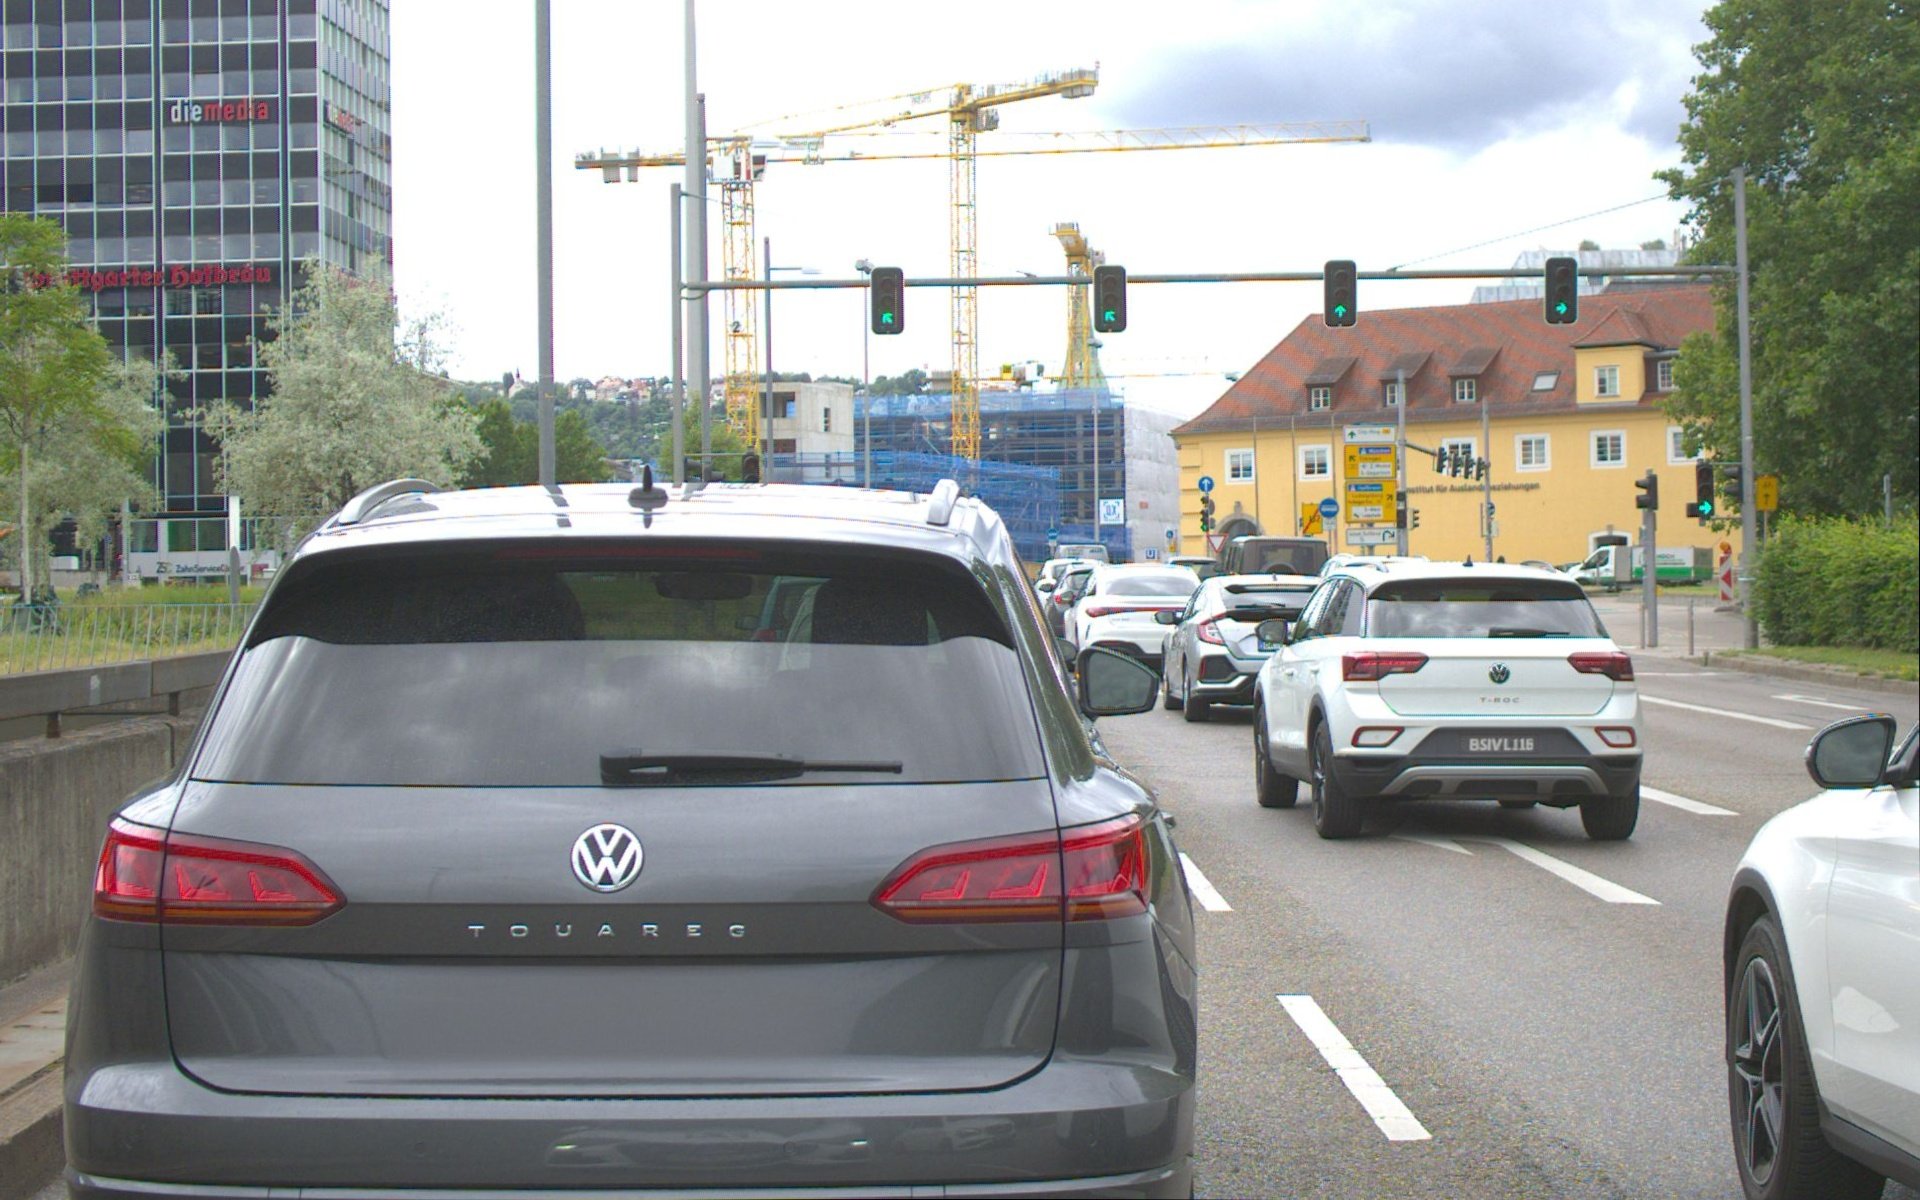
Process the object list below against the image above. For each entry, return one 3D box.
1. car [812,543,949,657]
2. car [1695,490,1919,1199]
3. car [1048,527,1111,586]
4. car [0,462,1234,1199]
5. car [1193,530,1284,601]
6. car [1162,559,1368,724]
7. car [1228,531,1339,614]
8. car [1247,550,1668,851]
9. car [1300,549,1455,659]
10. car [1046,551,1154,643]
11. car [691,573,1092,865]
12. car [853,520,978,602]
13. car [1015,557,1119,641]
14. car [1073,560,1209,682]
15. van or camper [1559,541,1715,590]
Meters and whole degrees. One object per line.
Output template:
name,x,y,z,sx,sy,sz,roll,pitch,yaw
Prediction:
car,-1.074,-0.030,47.559,1.814,1.491,3.906,0,1,-1
car,2.694,0.624,6.221,1.819,1.641,4.379,0,1,1
car,4.092,-1.526,118.634,1.993,2.007,4.000,0,1,-1
car,-0.582,0.578,7.151,1.933,1.641,4.000,0,1,-1
car,6.105,-0.782,75.675,1.719,1.497,3.981,0,1,1
car,2.975,0.362,34.250,1.719,1.497,4.144,0,1,1
car,6.017,-0.530,64.297,1.719,1.497,3.981,0,1,1
car,2.816,0.510,20.257,1.893,1.580,3.801,0,1,0
car,6.004,0.021,49.827,1.803,1.497,3.981,0,1,1
car,2.376,-0.076,59.141,1.719,1.497,3.981,0,1,0
car,-0.362,0.575,19.084,1.993,1.382,4.000,0,1,-1
car,-0.795,-0.757,65.067,2.244,1.497,4.611,0,1,1
car,2.264,-0.046,72.804,2.139,1.722,4.070,0,0,2
car,2.379,0.237,45.475,1.719,1.497,3.981,0,1,3
van or camper,27.998,-1.415,142.262,6.017,2.007,2.015,0,1,35
